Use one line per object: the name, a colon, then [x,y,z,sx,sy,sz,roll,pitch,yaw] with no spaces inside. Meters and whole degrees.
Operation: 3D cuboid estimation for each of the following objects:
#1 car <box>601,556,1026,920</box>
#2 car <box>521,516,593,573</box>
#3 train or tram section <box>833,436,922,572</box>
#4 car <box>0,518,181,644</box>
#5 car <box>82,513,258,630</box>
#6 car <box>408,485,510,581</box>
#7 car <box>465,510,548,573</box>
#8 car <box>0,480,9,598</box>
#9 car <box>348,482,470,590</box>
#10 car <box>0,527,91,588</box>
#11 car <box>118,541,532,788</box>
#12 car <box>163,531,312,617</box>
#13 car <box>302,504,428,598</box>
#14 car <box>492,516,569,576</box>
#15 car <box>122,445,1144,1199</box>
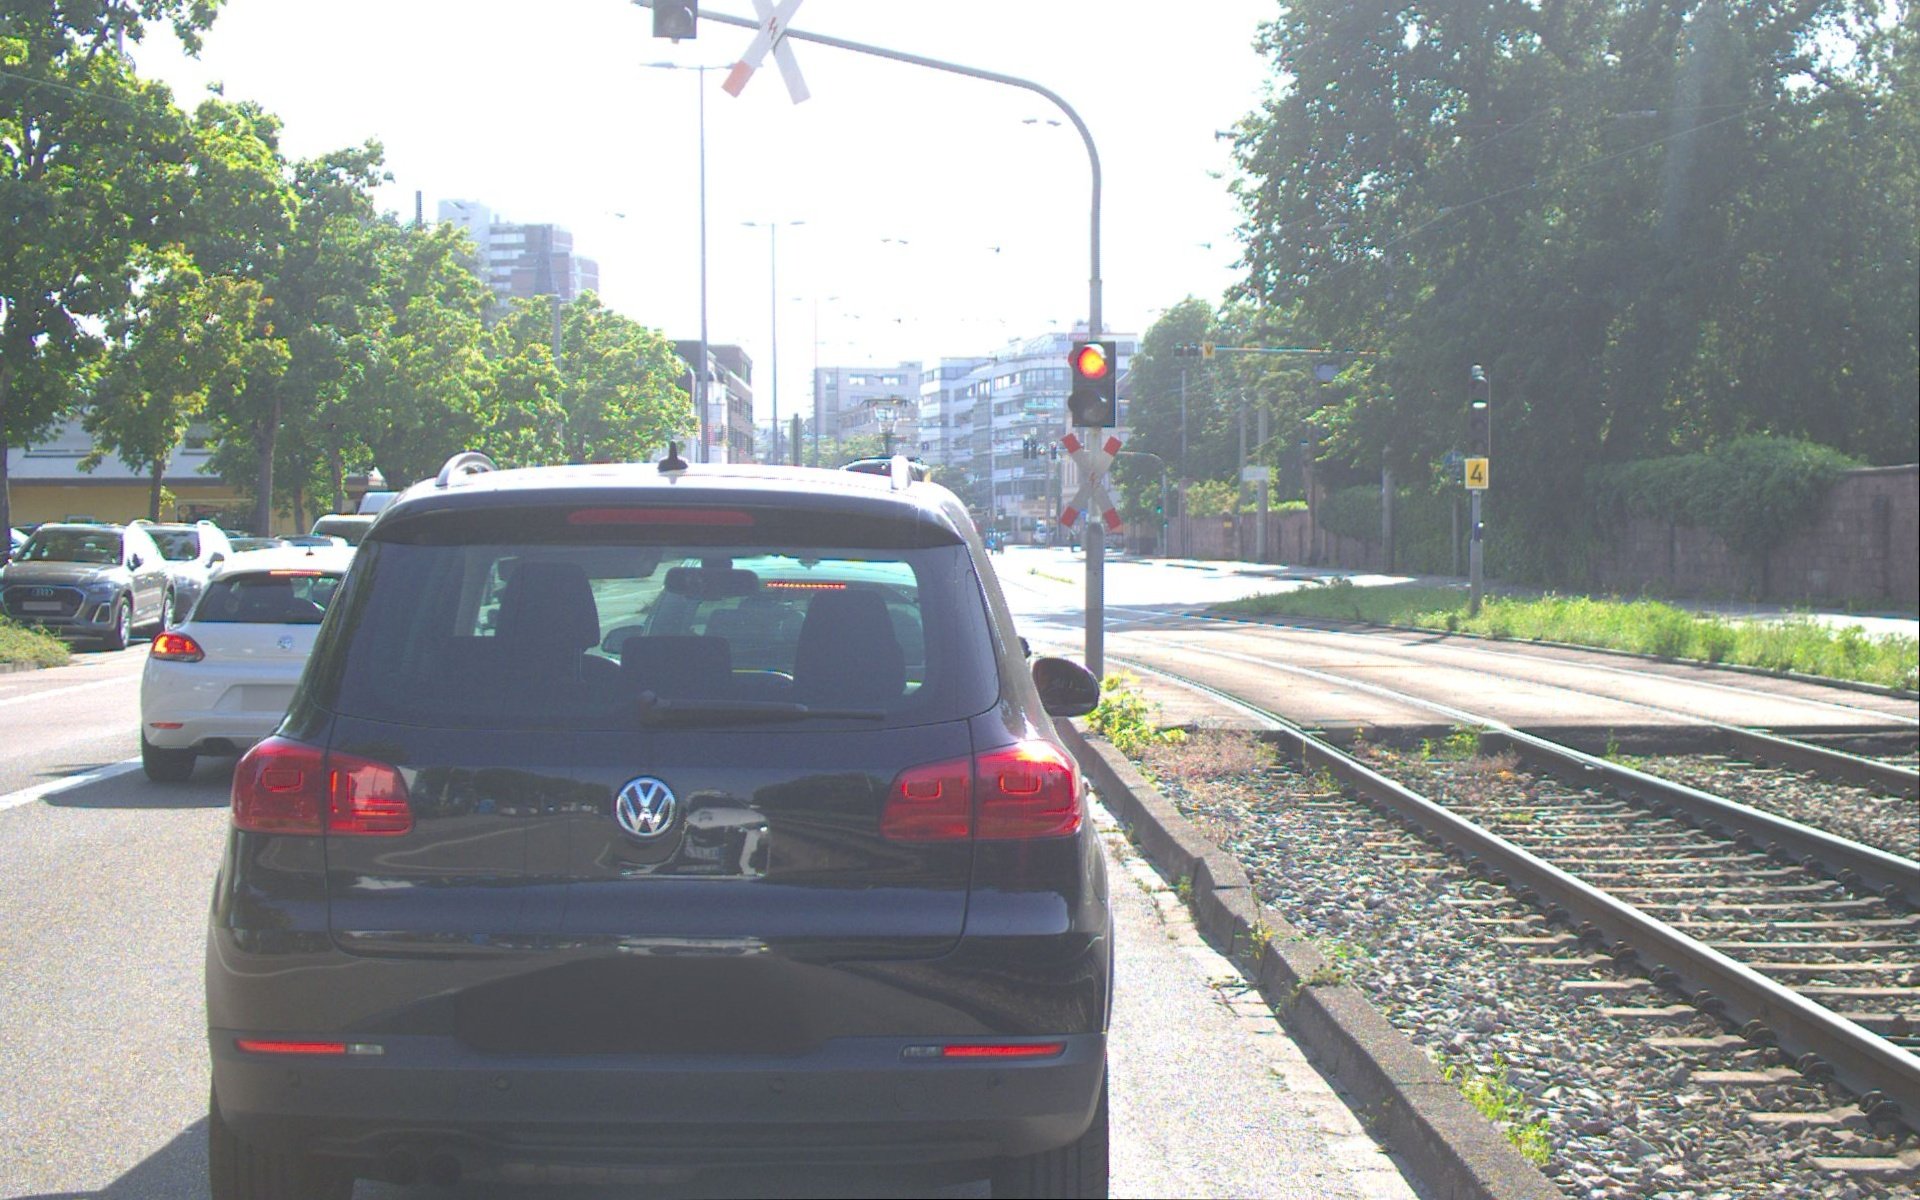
car: [-0.601,0.522,15.613,1.669,1.382,4.000,-1,1,-1]
car: [-12.519,-1.733,107.012,1.732,1.689,4.000,0,2,1]
train or tram section: [-2.224,-2.631,95.023,2.326,3.558,8.901,-1,1,-1]
car: [-12.104,-0.292,47.431,1.732,1.652,4.000,0,1,1]
car: [-12.125,-0.471,52.972,1.732,1.689,4.000,0,2,1]
car: [-12.202,-1.650,83.977,1.732,2.261,4.645,0,1,1]
car: [-12.590,-1.639,95.626,1.732,1.689,4.000,0,2,1]
car: [-22.431,-1.218,70.266,5.375,2.415,2.088,-1,1,0]
car: [-12.314,-1.452,77.149,1.863,2.339,4.985,0,1,1]
car: [-22.698,-1.002,81.164,3.986,1.392,1.738,-1,1,-4]
car: [-3.810,0.329,21.269,1.864,1.343,4.000,0,1,-1]
car: [-12.413,-0.477,59.286,1.732,1.384,3.735,0,2,1]
car: [-12.151,-1.029,70.482,1.732,1.853,4.489,0,1,1]
car: [-12.686,-1.615,101.691,1.732,1.689,4.000,0,2,1]
car: [-0.609,0.517,8.147,1.811,1.639,4.000,1,1,-1]
